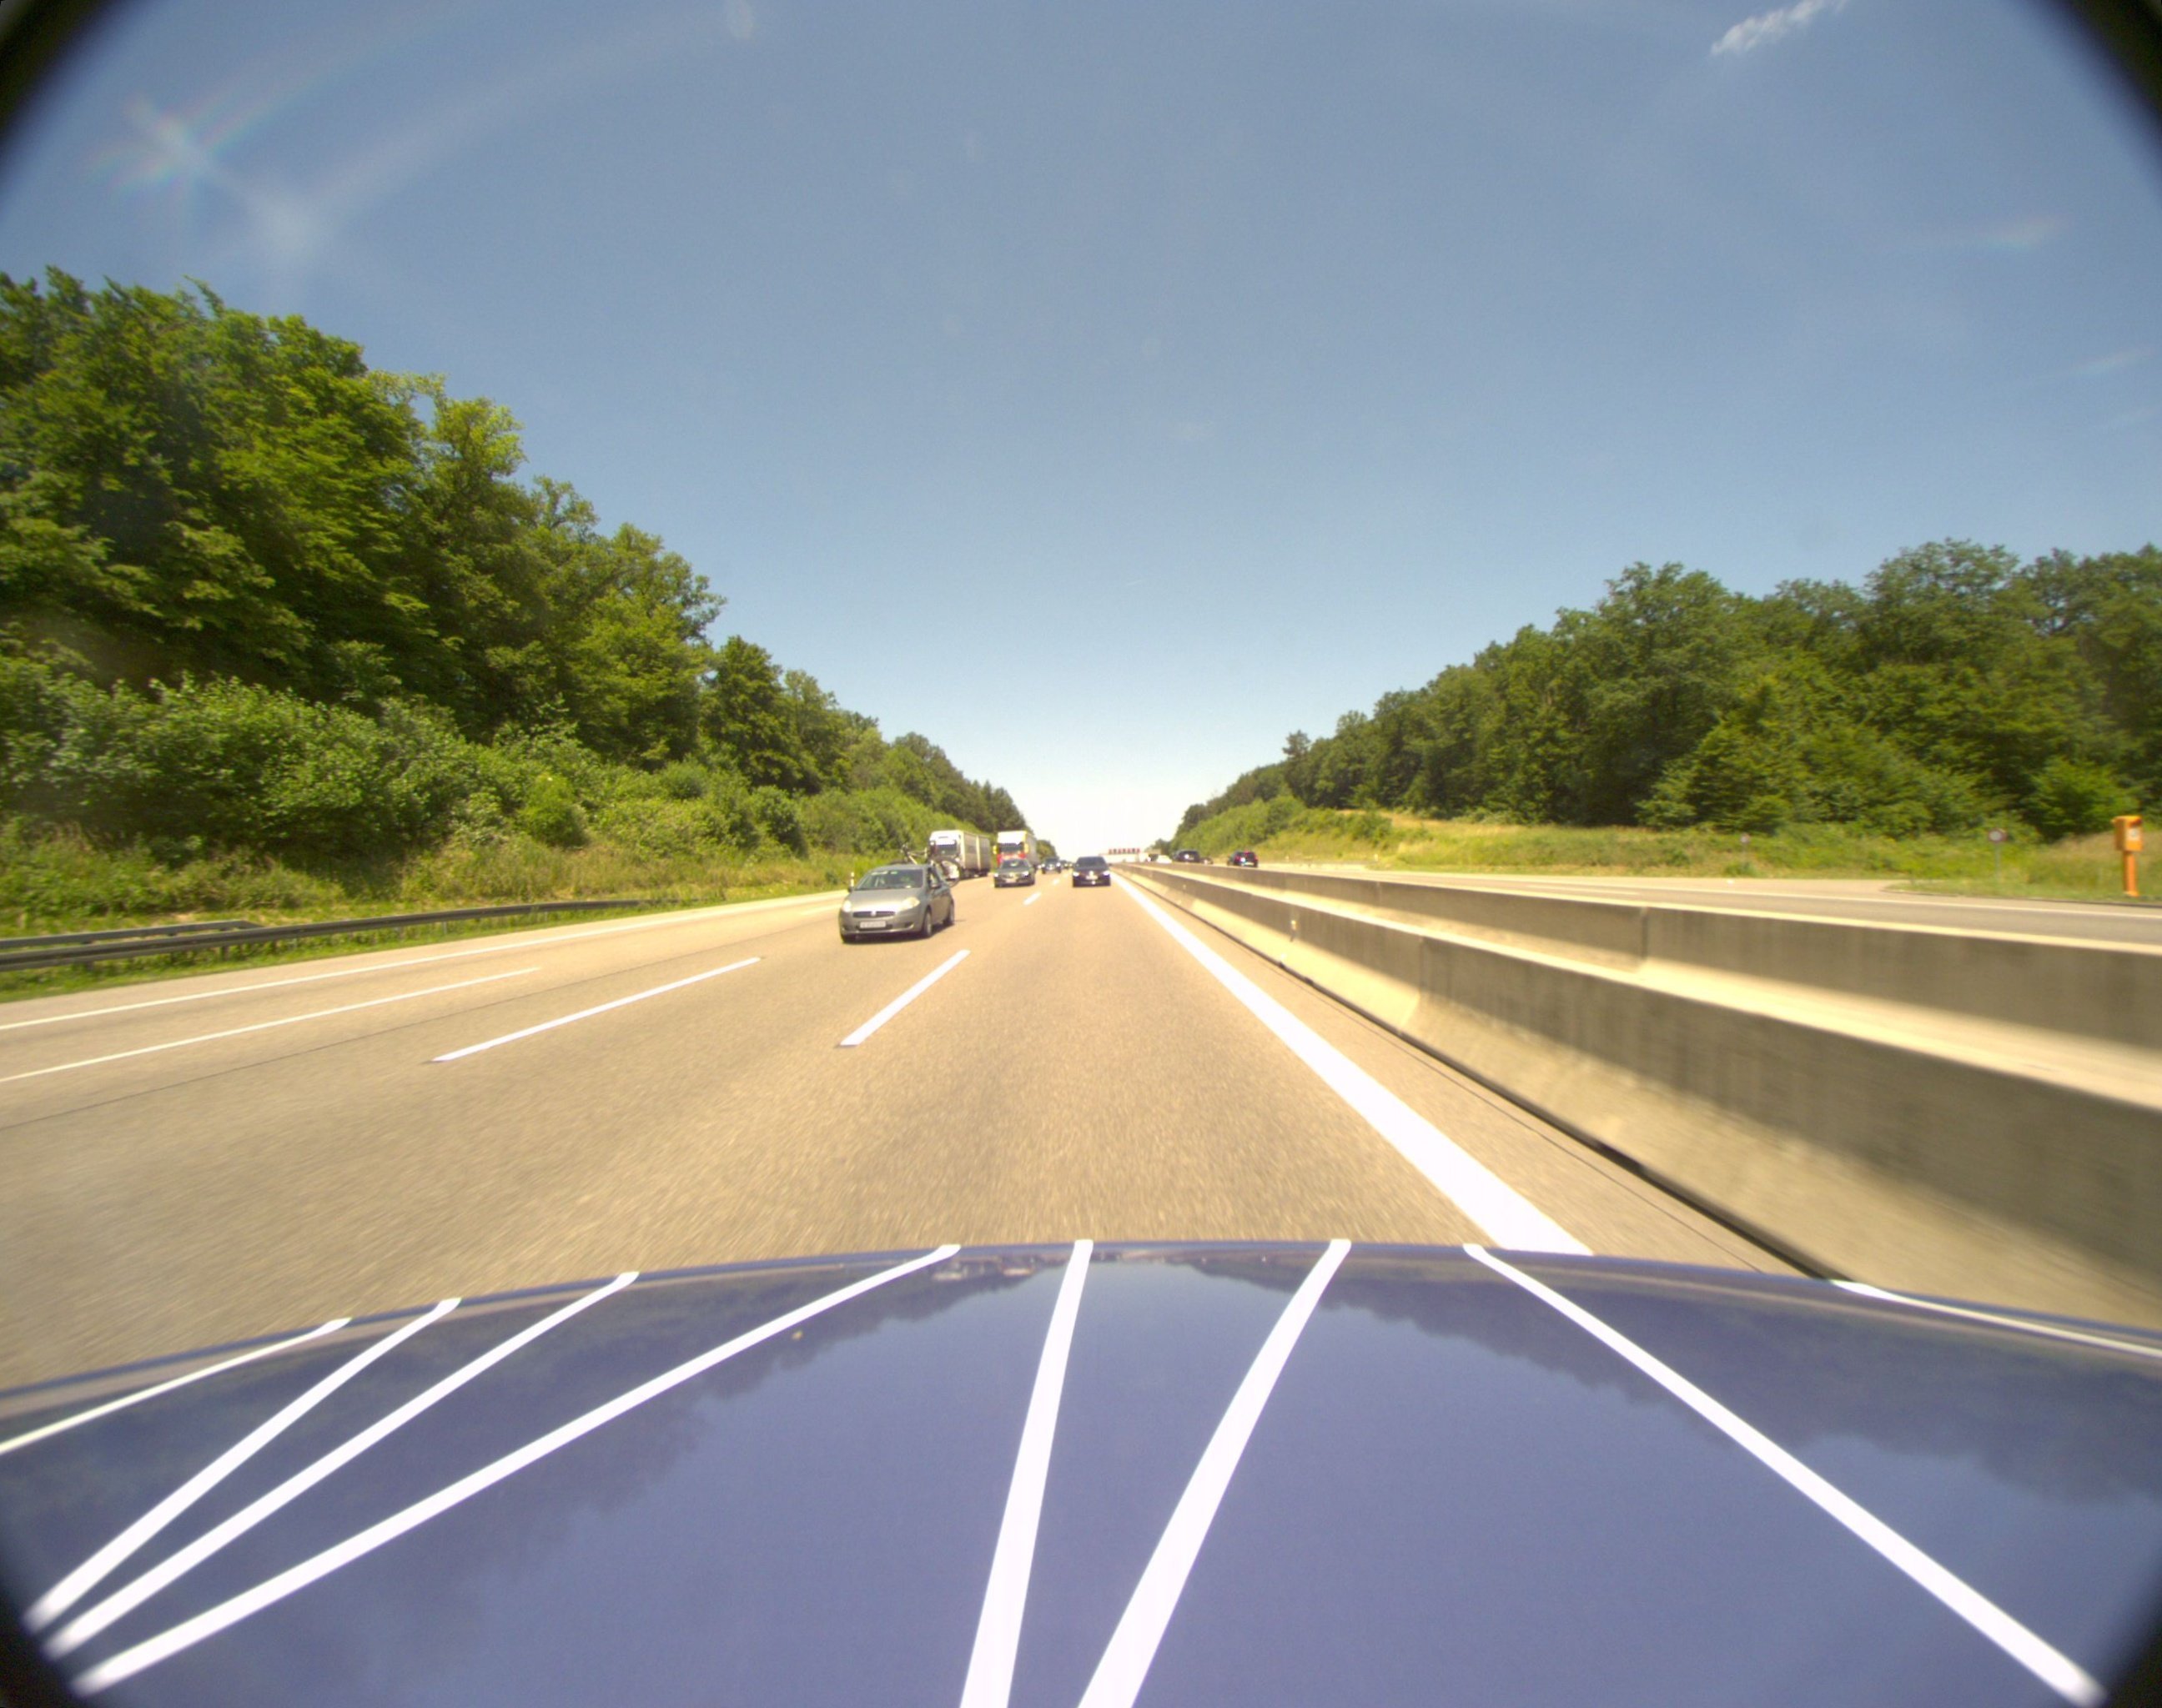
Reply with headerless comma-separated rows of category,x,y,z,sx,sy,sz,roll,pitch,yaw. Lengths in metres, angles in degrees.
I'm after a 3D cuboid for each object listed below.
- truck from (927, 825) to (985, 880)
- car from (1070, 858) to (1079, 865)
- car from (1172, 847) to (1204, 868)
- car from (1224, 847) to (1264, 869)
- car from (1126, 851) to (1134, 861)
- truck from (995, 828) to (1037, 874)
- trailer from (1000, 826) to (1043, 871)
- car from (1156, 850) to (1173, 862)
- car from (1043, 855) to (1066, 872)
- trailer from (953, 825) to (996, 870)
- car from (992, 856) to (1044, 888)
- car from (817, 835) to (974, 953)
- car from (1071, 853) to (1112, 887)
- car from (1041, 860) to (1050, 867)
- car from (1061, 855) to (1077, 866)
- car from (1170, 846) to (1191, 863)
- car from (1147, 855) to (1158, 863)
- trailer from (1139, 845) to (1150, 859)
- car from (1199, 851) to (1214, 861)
truck,-10.507,-0.105,65.095,2.728,4.136,10.970,-3,0,1
car,-1.199,1.448,144.305,1.715,1.308,3.490,-1,0,1
car,9.072,0.285,64.703,1.998,1.663,5.280,1,0,0
car,12.783,0.276,59.922,1.998,1.665,5.280,0,0,0
car,14.162,0.527,222.059,2.090,2.783,7.604,-2,0,2
truck,-6.048,-0.250,71.465,3.018,3.957,7.541,-3,-1,1
trailer,-5.922,-0.452,78.178,2.926,4.118,14.851,-2,-1,1
car,12.439,0.294,113.348,1.998,1.659,4.930,-1,0,0
car,-2.534,0.914,74.658,1.910,1.503,4.160,-3,0,2
trailer,-10.275,-0.586,74.045,2.585,4.045,8.384,-3,0,1
car,-3.257,0.900,40.318,1.971,1.444,5.225,-3,0,3
car,-3.697,0.699,16.164,1.966,2.042,4.783,-3,1,1
car,0.508,0.733,36.288,1.777,1.425,4.144,-3,0,1
car,-8.378,2.255,177.593,1.910,1.503,4.160,-2,-1,0
car,-1.702,0.896,108.576,1.910,1.503,4.160,-3,0,2
car,12.666,0.024,96.959,1.999,2.002,4.811,-1,0,-1
car,13.567,0.923,144.978,1.805,1.539,4.729,0,0,1
trailer,18.419,-0.543,220.848,2.932,4.060,13.843,-2,0,3
car,16.832,0.272,102.004,1.491,1.297,4.300,0,0,1
